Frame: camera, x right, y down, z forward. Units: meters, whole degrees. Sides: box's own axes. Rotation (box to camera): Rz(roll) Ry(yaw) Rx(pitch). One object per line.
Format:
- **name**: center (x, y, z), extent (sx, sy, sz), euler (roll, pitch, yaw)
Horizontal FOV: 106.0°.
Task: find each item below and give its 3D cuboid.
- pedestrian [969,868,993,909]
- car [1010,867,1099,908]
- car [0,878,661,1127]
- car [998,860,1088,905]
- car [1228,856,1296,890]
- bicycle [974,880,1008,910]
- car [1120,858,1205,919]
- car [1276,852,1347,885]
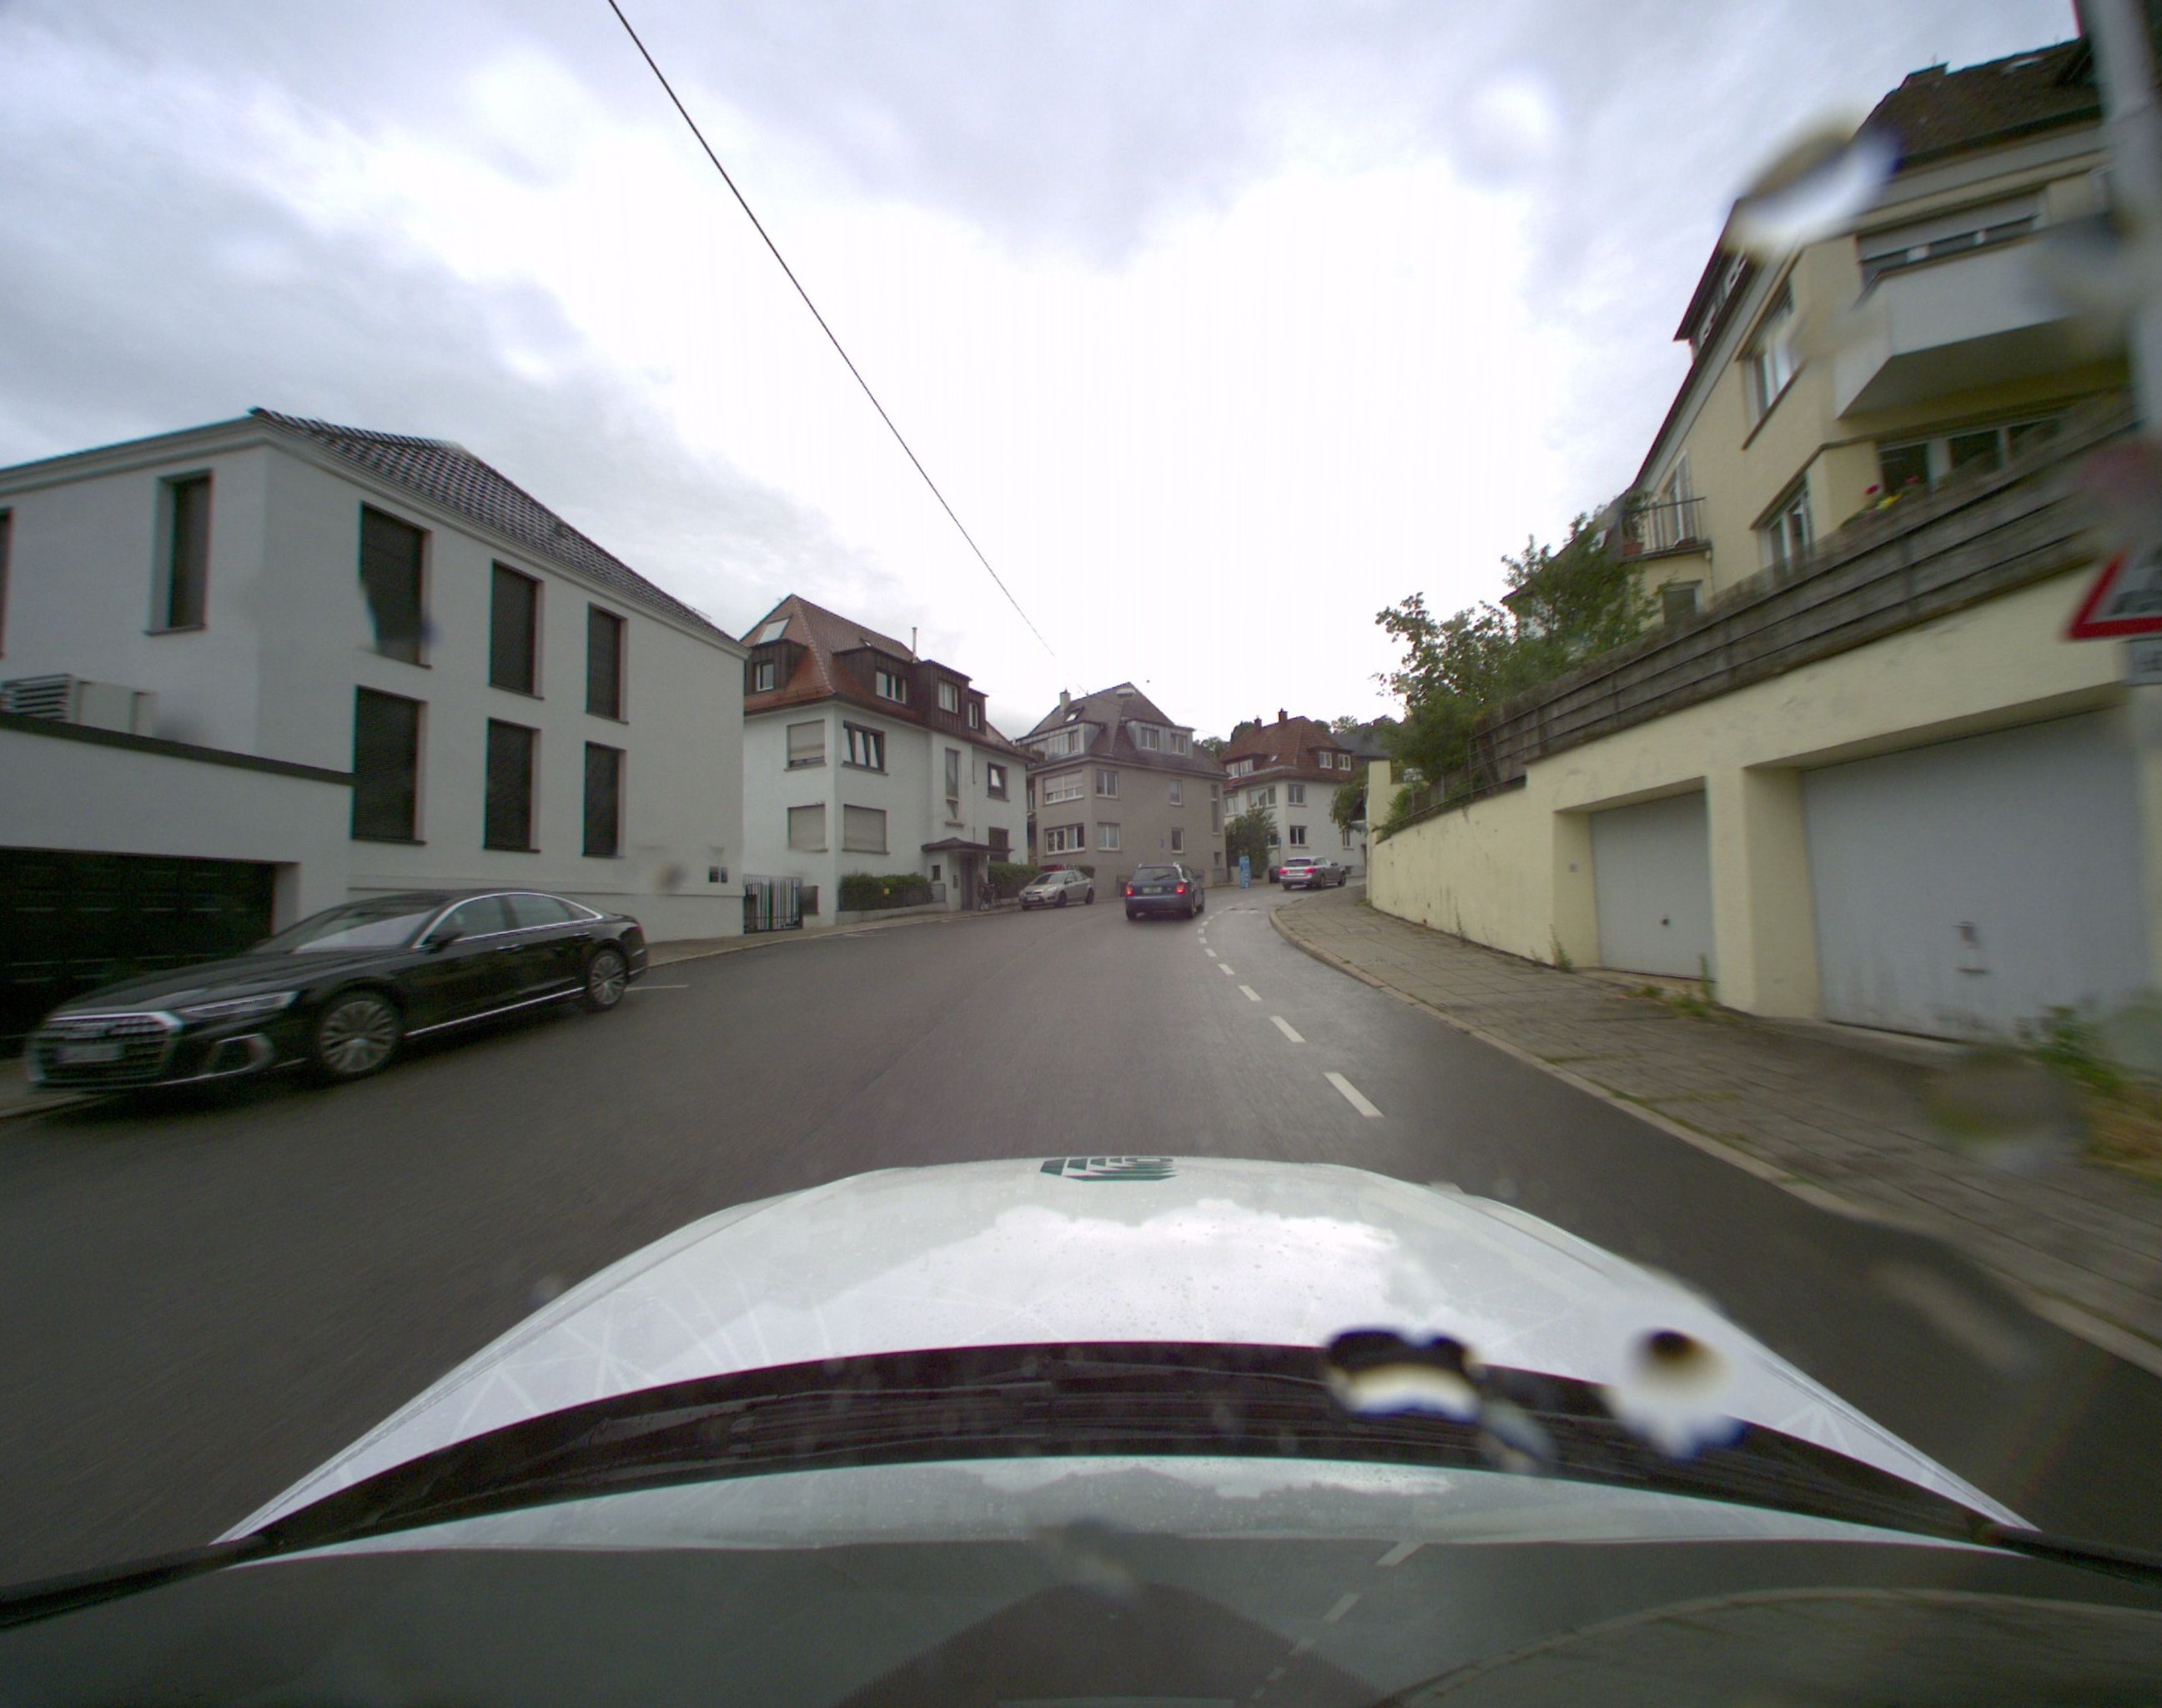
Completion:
- **pedestrian**: center (-3.973, 1.360, 32.447), extent (0.488, 1.577, 0.952), euler (-3, -1, 21)
- **car**: center (-0.990, 1.326, 33.146), extent (1.819, 1.425, 4.253), euler (-5, -2, 24)
- **car**: center (-6.521, 1.093, 8.008), extent (1.820, 1.485, 4.997), euler (-3, 0, 5)
- **car**: center (-1.967, 1.477, 41.862), extent (3.948, 1.823, 2.013), euler (-9, -4, 30)
- **car**: center (12.485, 1.352, 56.419), extent (2.008, 1.624, 4.209), euler (-2, -9, -33)
- **bicycle**: center (-3.546, 1.619, 32.230), extent (0.452, 1.067, 1.931), euler (-3, -1, 21)
- **car**: center (2.301, 0.871, 22.050), extent (1.799, 1.439, 4.094), euler (-2, -1, 11)
- **car**: center (10.437, 0.680, 36.760), extent (1.793, 1.361, 4.025), euler (-2, -3, 36)
